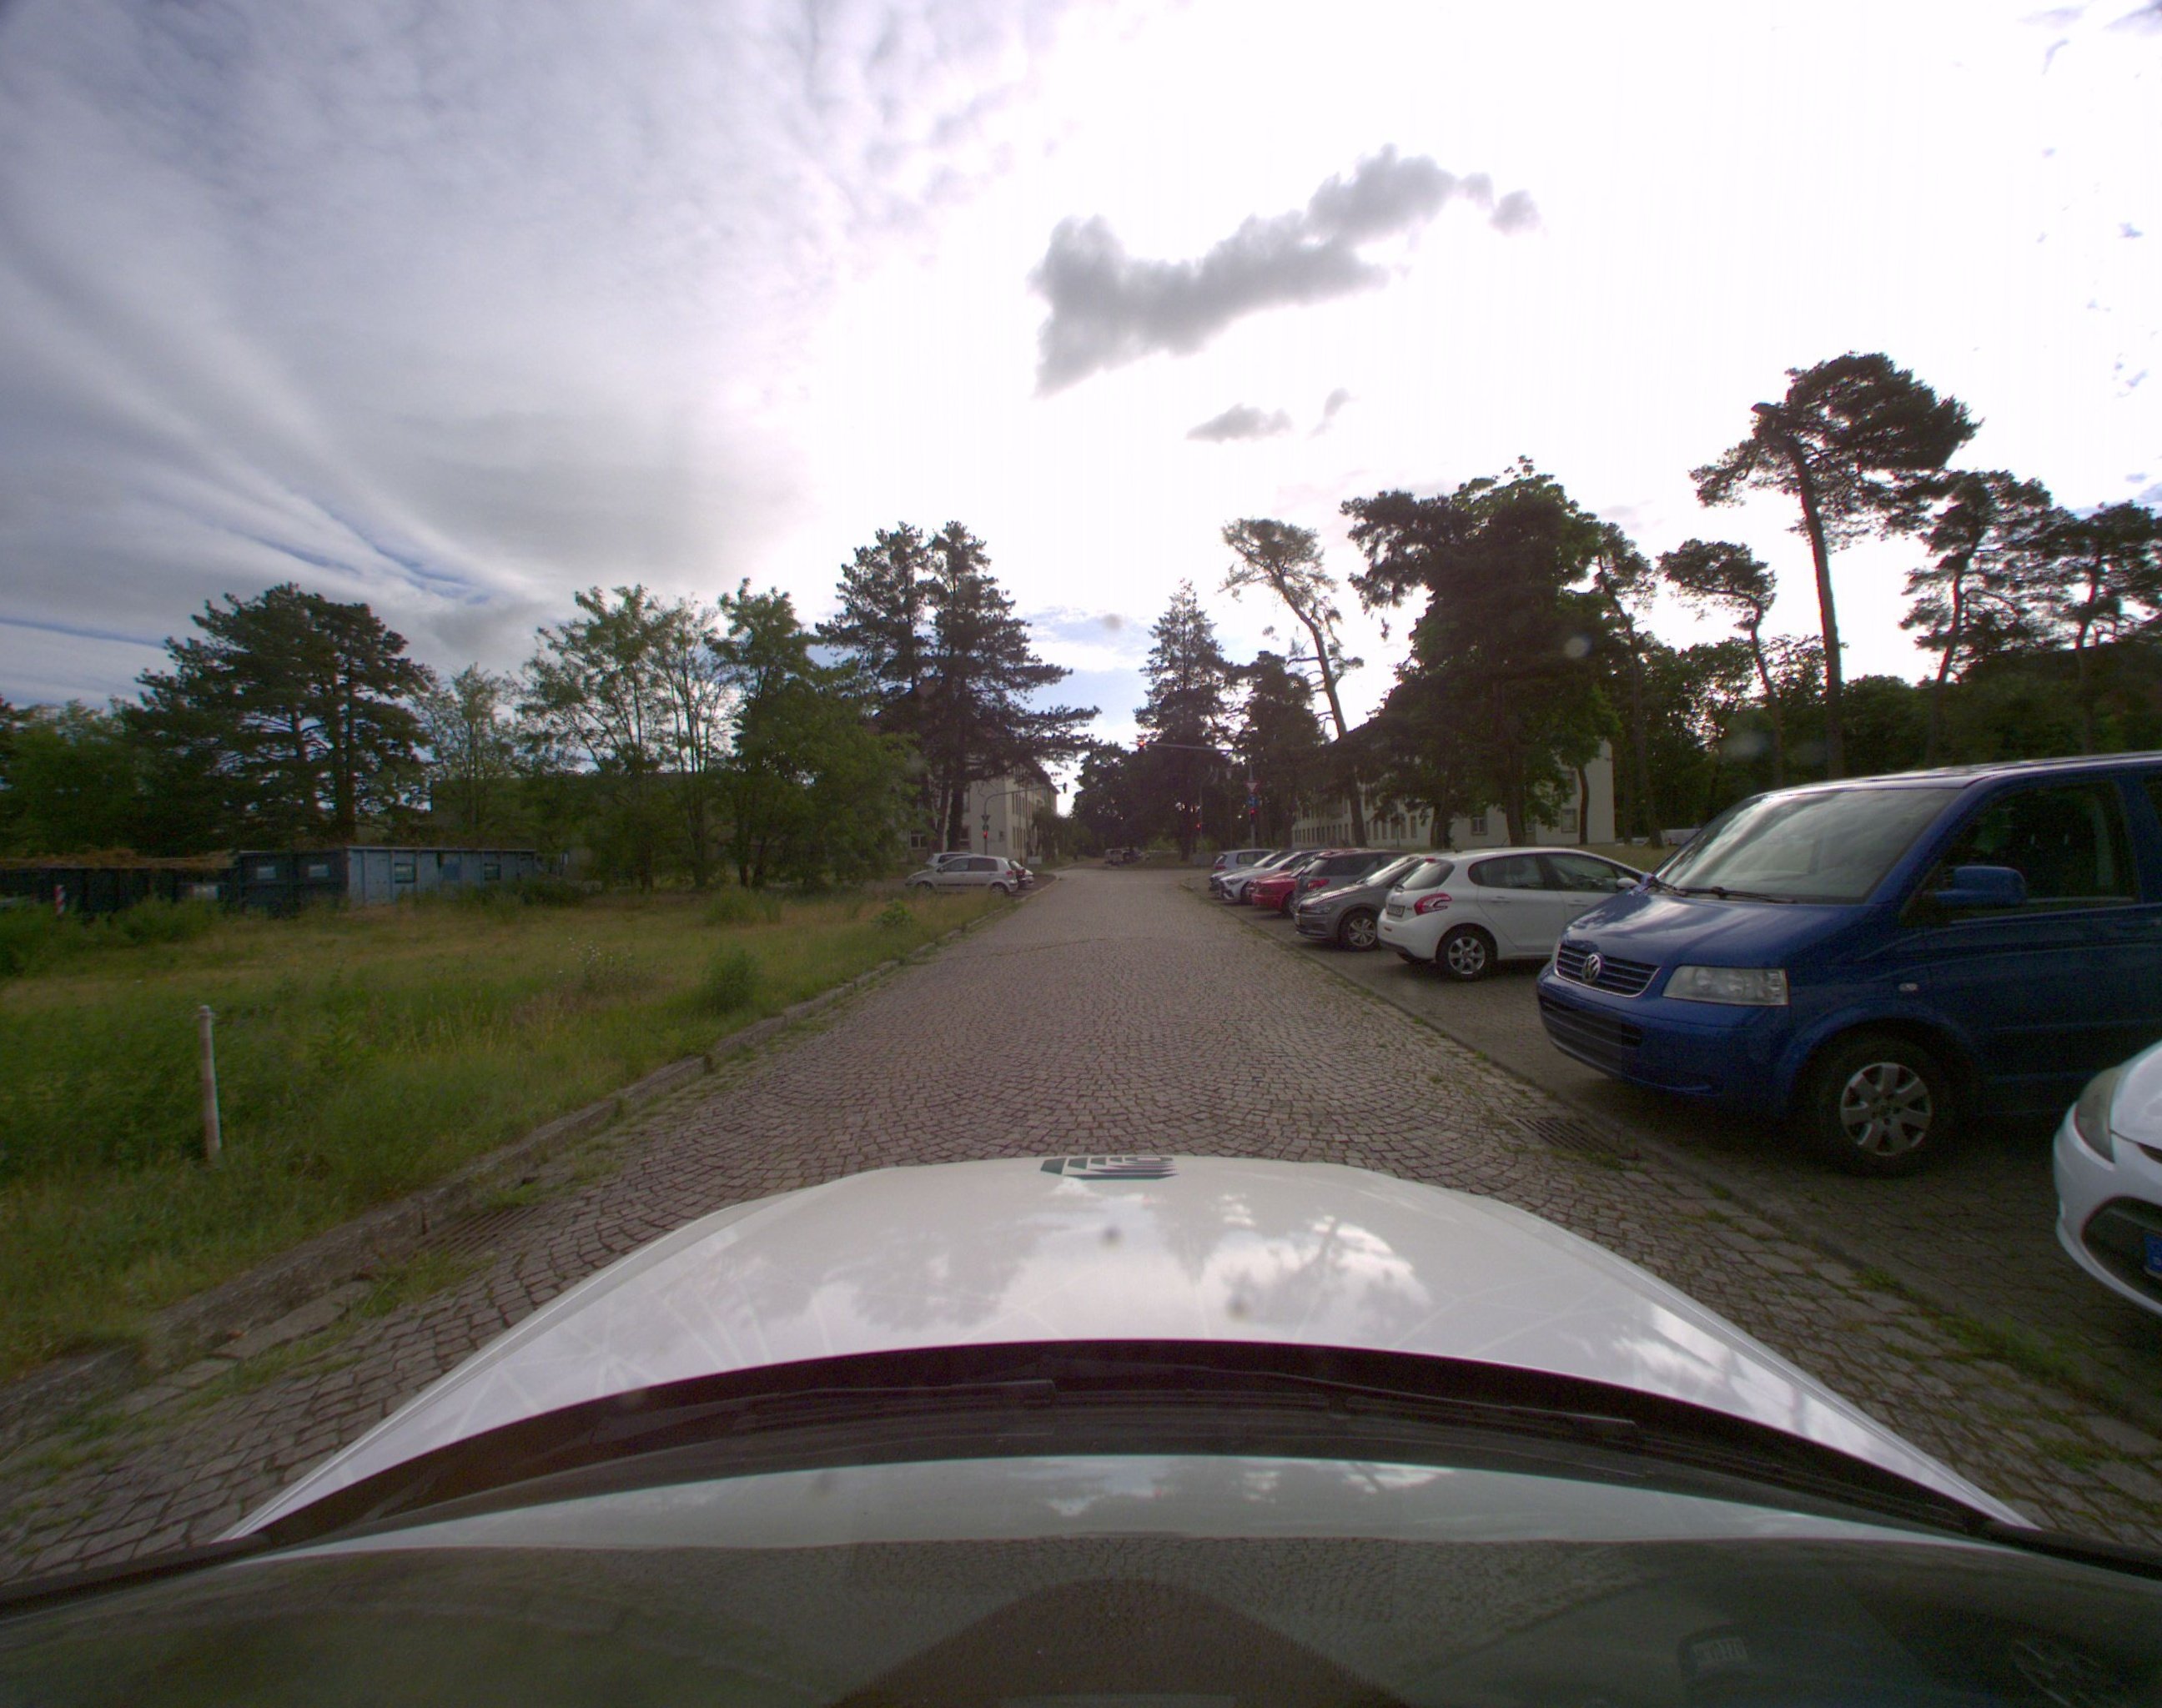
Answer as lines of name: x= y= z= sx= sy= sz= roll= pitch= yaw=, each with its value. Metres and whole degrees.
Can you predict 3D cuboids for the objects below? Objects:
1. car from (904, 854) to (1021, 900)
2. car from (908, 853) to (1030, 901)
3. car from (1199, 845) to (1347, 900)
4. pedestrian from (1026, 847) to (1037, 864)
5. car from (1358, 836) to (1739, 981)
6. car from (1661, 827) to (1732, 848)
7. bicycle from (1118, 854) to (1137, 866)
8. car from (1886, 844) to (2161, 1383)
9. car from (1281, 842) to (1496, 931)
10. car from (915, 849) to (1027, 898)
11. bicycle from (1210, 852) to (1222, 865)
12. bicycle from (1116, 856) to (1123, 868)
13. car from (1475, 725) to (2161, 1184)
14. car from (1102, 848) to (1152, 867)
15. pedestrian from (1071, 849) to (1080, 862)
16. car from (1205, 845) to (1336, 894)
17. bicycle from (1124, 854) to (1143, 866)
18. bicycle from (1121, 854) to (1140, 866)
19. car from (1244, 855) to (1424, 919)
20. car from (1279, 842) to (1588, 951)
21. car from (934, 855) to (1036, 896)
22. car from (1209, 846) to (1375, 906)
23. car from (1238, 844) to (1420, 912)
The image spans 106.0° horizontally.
car: x=-3.990 y=0.771 z=27.817 sx=3.709 sy=1.481 sz=1.672 roll=0 pitch=0 yaw=-1
car: x=-4.111 y=0.838 z=30.420 sx=4.289 sy=1.554 sz=1.809 roll=-3 pitch=0 yaw=-4
car: x=6.052 y=0.557 z=25.893 sx=4.227 sy=1.479 sz=1.704 roll=-3 pitch=0 yaw=-9
pedestrian: x=-5.681 y=0.157 z=93.489 sx=1.070 sy=1.959 sz=1.122 roll=0 pitch=0 yaw=2
car: x=5.534 y=0.609 z=10.023 sx=3.639 sy=1.478 sz=1.766 roll=-3 pitch=0 yaw=2
car: x=60.372 y=-1.597 z=79.955 sx=5.278 sy=2.019 sz=2.107 roll=0 pitch=0 yaw=3
bicycle: x=4.822 y=0.613 z=84.154 sx=1.877 sy=1.171 sz=0.664 roll=0 pitch=0 yaw=-4
car: x=5.050 y=0.658 z=2.193 sx=4.085 sy=1.478 sz=1.721 roll=-3 pitch=0 yaw=-1
car: x=5.841 y=0.593 z=15.792 sx=3.492 sy=1.487 sz=1.744 roll=-3 pitch=0 yaw=1
car: x=-4.427 y=0.770 z=33.237 sx=4.288 sy=1.732 sz=1.651 roll=-3 pitch=0 yaw=-3
bicycle: x=10.799 y=0.357 z=65.191 sx=0.660 sy=1.051 sz=1.889 roll=0 pitch=1 yaw=3
bicycle: x=3.630 y=0.750 z=76.050 sx=0.660 sy=1.171 sz=1.889 roll=0 pitch=0 yaw=3
car: x=5.172 y=0.397 z=4.721 sx=4.780 sy=2.004 sz=1.966 roll=-3 pitch=0 yaw=0
car: x=5.367 y=0.400 z=95.457 sx=5.377 sy=2.101 sz=2.171 roll=-2 pitch=0 yaw=-10
pedestrian: x=-0.857 y=0.200 z=125.316 sx=1.236 sy=1.959 sz=1.120 roll=0 pitch=0 yaw=-3
car: x=6.562 y=0.520 z=28.434 sx=4.126 sy=1.463 sz=1.632 roll=-3 pitch=0 yaw=-3
bicycle: x=5.179 y=0.605 z=80.643 sx=1.877 sy=1.171 sz=0.664 roll=0 pitch=0 yaw=-4
bicycle: x=4.996 y=0.609 z=82.478 sx=1.877 sy=1.171 sz=0.664 roll=0 pitch=0 yaw=-4
car: x=5.633 y=0.717 z=18.426 sx=3.571 sy=1.223 sz=1.630 roll=-3 pitch=0 yaw=3
car: x=5.420 y=0.629 z=12.934 sx=4.114 sy=1.447 sz=1.767 roll=-3 pitch=0 yaw=2
car: x=-4.130 y=0.918 z=35.685 sx=4.289 sy=1.554 sz=1.809 roll=-3 pitch=0 yaw=-4
car: x=5.917 y=0.585 z=23.127 sx=4.179 sy=1.437 sz=1.752 roll=-3 pitch=0 yaw=-5
car: x=6.227 y=0.586 z=20.754 sx=4.091 sy=1.476 sz=1.685 roll=-3 pitch=0 yaw=0
